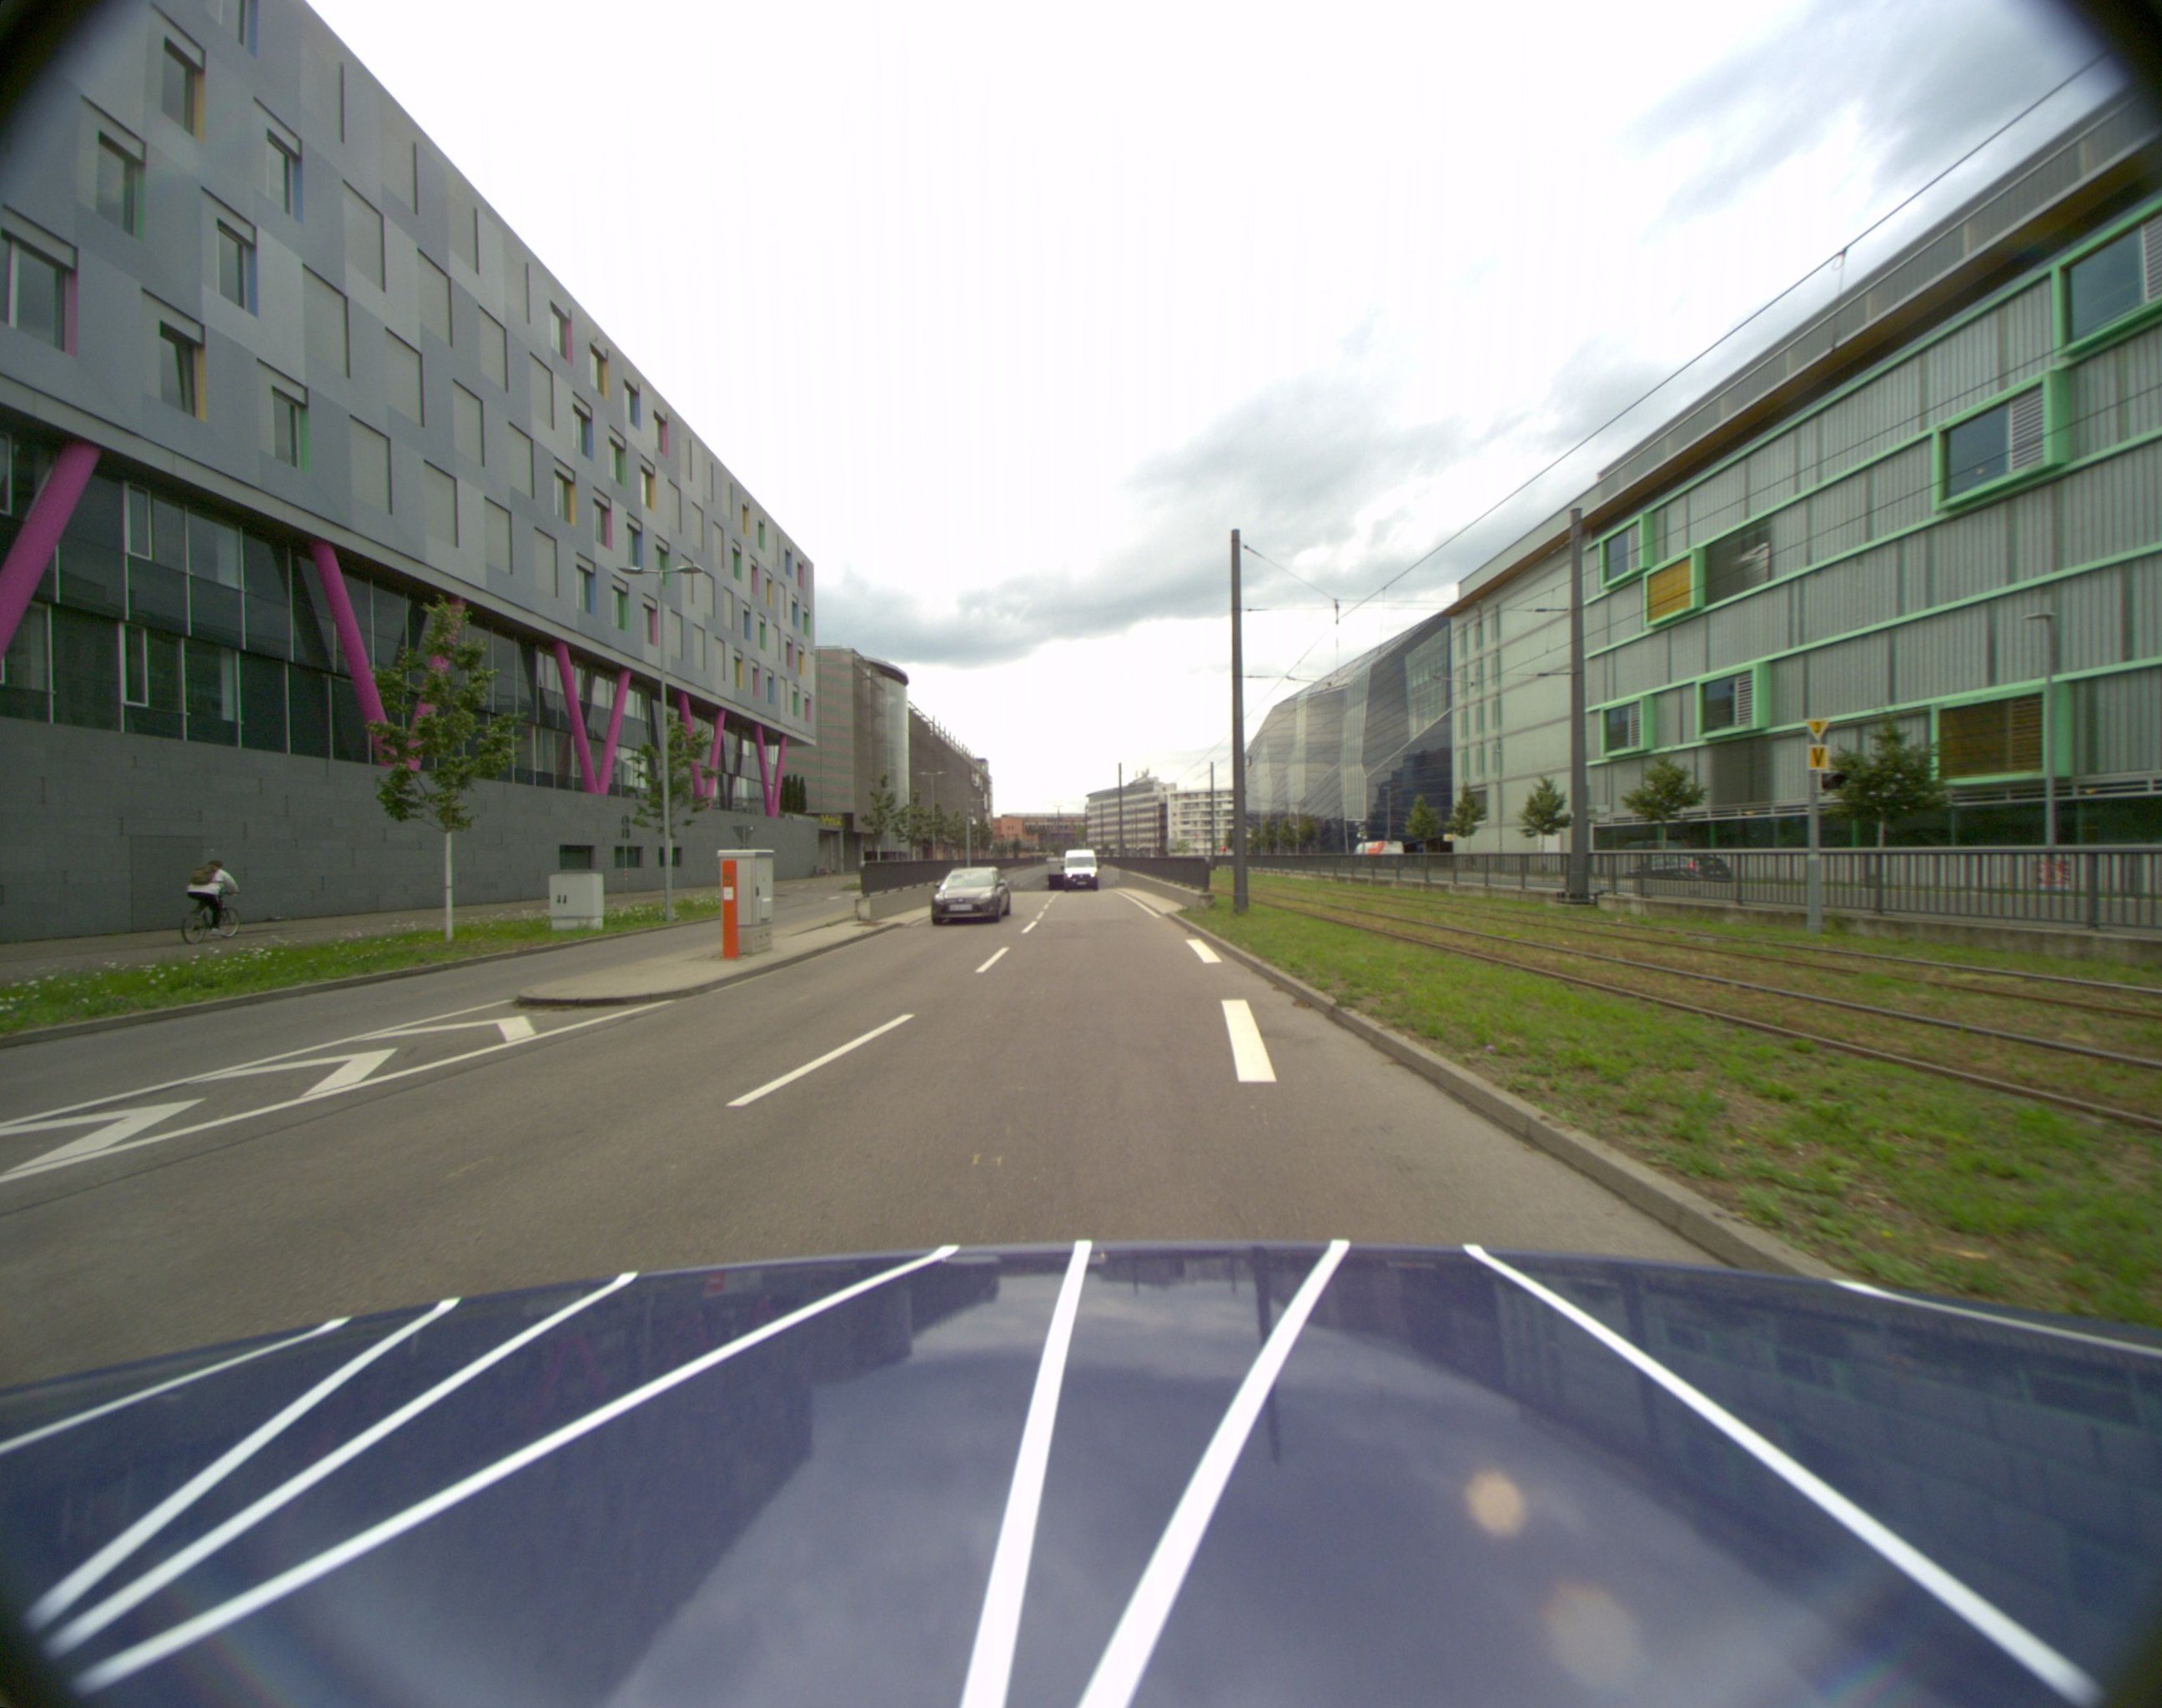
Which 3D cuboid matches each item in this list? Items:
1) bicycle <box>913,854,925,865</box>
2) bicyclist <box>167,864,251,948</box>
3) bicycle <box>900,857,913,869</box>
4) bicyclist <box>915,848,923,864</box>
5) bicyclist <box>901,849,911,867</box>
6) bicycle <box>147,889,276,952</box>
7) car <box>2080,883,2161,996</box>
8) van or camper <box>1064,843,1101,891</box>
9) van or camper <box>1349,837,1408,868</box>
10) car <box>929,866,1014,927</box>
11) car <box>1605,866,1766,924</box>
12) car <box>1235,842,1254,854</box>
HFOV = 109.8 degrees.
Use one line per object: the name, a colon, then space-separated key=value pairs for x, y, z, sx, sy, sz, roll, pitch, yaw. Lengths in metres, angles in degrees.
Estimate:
bicycle: x=-18.117 y=0.631 z=84.998 sx=0.801 sy=1.151 sz=2.345 roll=-2 pitch=0 yaw=-1
bicyclist: x=-19.079 y=1.108 z=16.657 sx=0.773 sy=1.776 sz=0.973 roll=-1 pitch=0 yaw=-16
bicycle: x=-18.380 y=0.936 z=79.950 sx=0.801 sy=1.151 sz=2.346 roll=-2 pitch=-4 yaw=-1
bicyclist: x=-18.128 y=0.200 z=84.990 sx=0.784 sy=1.792 sz=0.704 roll=-2 pitch=0 yaw=-1
bicyclist: x=-18.404 y=0.420 z=79.931 sx=0.784 sy=1.791 sz=0.705 roll=-2 pitch=-3 yaw=-1
bicycle: x=-19.106 y=1.423 z=16.789 sx=0.786 sy=1.187 sz=2.217 roll=-1 pitch=0 yaw=-16
car: x=15.768 y=1.159 z=8.802 sx=1.786 sy=1.505 sz=4.971 roll=-1 pitch=-1 yaw=-1
van or camper: x=0.067 y=0.892 z=46.703 sx=2.043 sy=2.569 sz=5.045 roll=-1 pitch=-5 yaw=-1
van or camper: x=23.466 y=-0.118 z=60.274 sx=2.178 sy=2.273 sz=6.506 roll=-2 pitch=0 yaw=1
car: x=-2.985 y=1.131 z=21.573 sx=1.752 sy=1.490 sz=4.269 roll=-1 pitch=0 yaw=0
car: x=23.123 y=1.623 z=29.389 sx=1.999 sy=2.000 sz=4.974 roll=-2 pitch=-4 yaw=-2
car: x=25.437 y=-0.914 z=118.227 sx=1.998 sy=1.583 sz=4.768 roll=-1 pitch=-1 yaw=2
